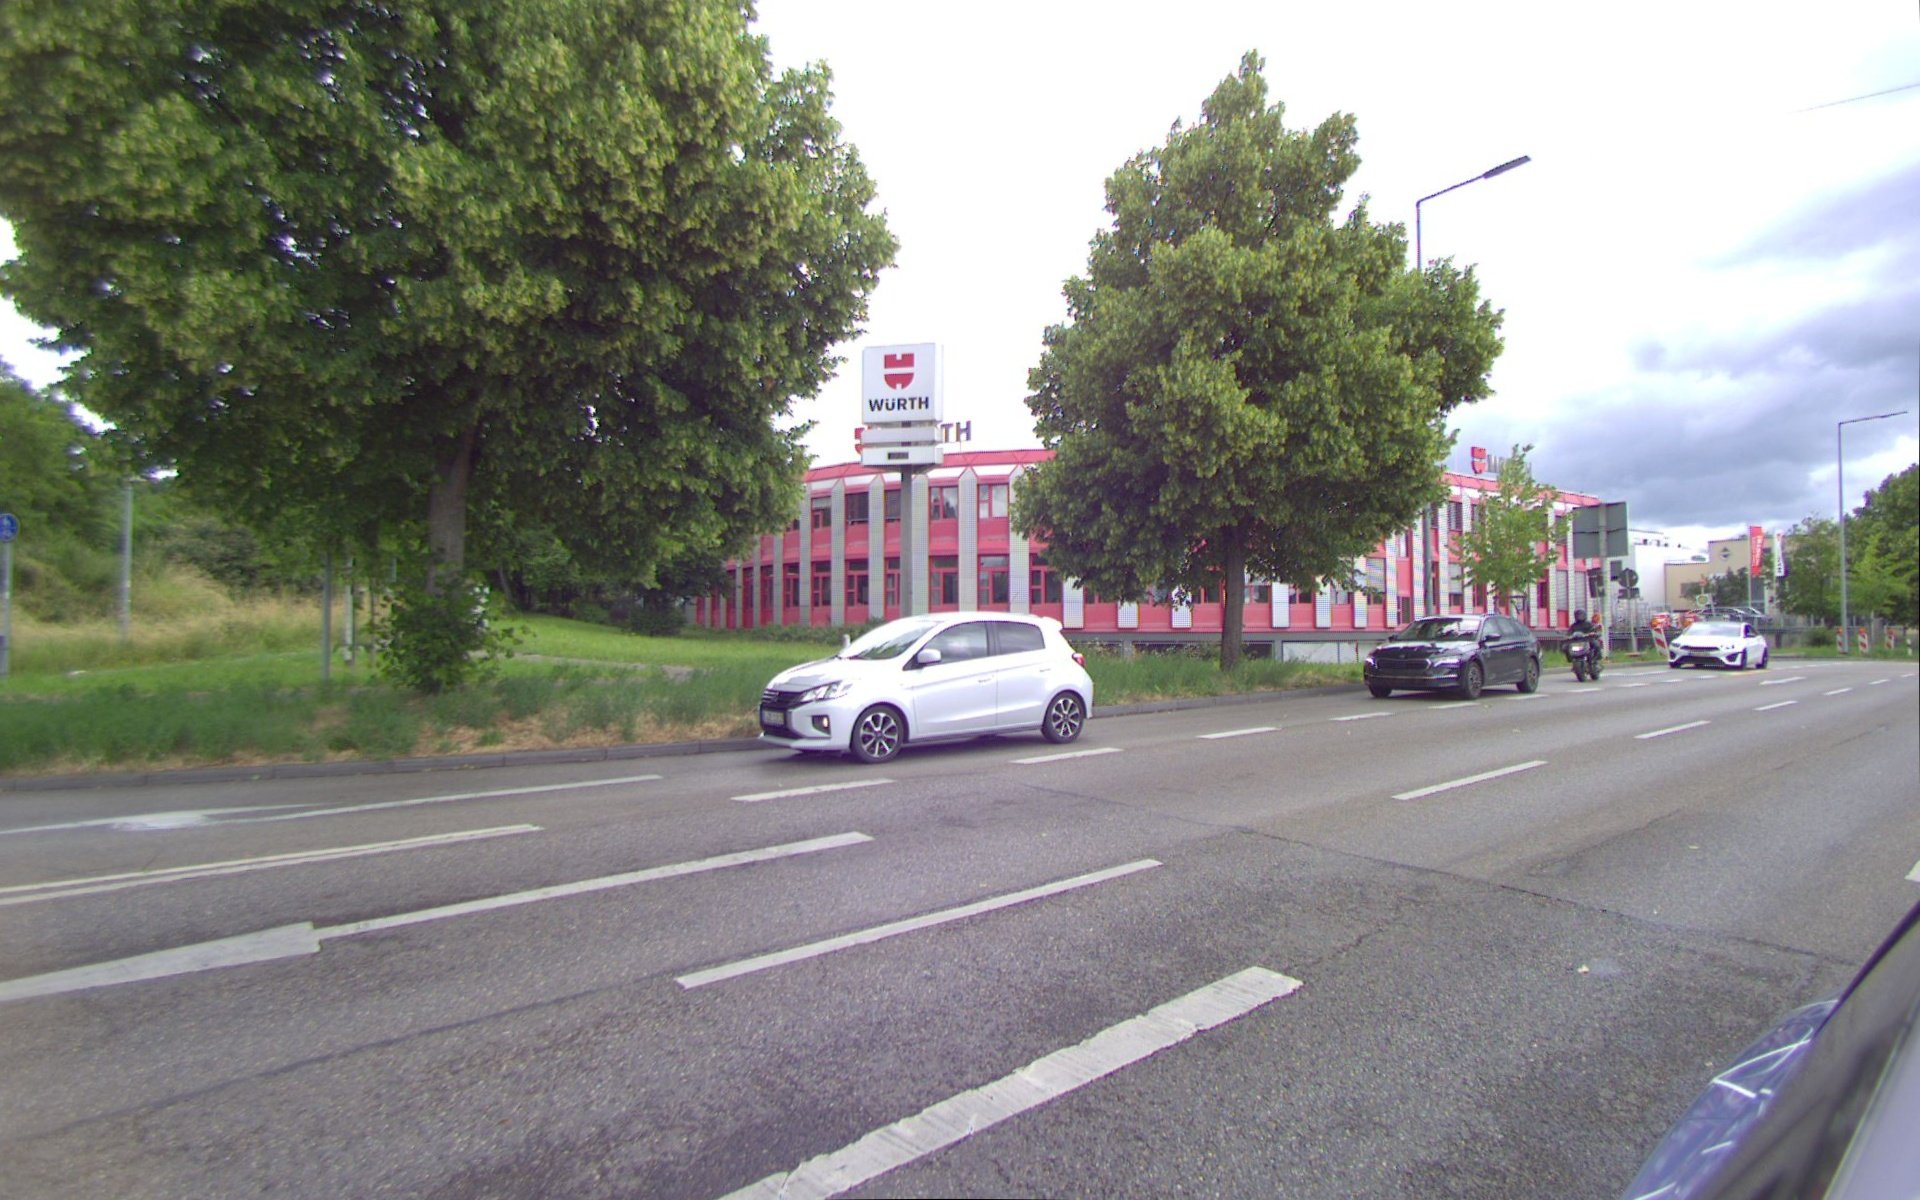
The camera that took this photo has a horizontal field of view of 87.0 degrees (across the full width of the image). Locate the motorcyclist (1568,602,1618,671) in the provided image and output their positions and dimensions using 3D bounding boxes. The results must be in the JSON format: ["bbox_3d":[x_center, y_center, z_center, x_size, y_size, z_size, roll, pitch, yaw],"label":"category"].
[{"bbox_3d":[14.311,0.821,22.874,0.748,1.510,0.918,-2,-3,44],"label":"motorcyclist"}]

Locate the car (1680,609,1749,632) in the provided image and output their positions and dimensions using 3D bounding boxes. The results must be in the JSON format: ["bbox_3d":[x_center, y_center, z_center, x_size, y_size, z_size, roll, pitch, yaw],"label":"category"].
[{"bbox_3d":[61.805,1.690,82.955,1.752,1.776,4.247,0,0,-39],"label":"car"}]

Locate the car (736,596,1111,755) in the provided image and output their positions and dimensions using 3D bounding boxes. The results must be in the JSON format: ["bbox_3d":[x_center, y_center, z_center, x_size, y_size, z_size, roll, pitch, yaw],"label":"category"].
[{"bbox_3d":[-0.340,0.787,11.136,3.762,1.462,1.785,2,-5,-36],"label":"car"}]

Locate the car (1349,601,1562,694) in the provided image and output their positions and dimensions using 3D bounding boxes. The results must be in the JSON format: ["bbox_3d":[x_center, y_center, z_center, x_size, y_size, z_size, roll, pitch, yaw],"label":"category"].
[{"bbox_3d":[8.985,0.860,18.189,4.446,1.465,1.783,3,-4,-40],"label":"car"}]

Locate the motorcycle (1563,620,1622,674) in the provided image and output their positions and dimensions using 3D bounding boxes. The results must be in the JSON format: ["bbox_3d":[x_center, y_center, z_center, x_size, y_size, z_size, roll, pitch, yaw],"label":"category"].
[{"bbox_3d":[14.294,1.048,22.851,0.747,1.162,1.912,-2,-3,44],"label":"motorcycle"}]

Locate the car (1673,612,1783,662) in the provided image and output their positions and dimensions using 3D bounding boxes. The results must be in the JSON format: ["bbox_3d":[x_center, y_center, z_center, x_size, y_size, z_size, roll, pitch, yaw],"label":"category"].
[{"bbox_3d":[22.968,1.106,30.210,4.401,1.380,1.783,3,-2,-42],"label":"car"}]
